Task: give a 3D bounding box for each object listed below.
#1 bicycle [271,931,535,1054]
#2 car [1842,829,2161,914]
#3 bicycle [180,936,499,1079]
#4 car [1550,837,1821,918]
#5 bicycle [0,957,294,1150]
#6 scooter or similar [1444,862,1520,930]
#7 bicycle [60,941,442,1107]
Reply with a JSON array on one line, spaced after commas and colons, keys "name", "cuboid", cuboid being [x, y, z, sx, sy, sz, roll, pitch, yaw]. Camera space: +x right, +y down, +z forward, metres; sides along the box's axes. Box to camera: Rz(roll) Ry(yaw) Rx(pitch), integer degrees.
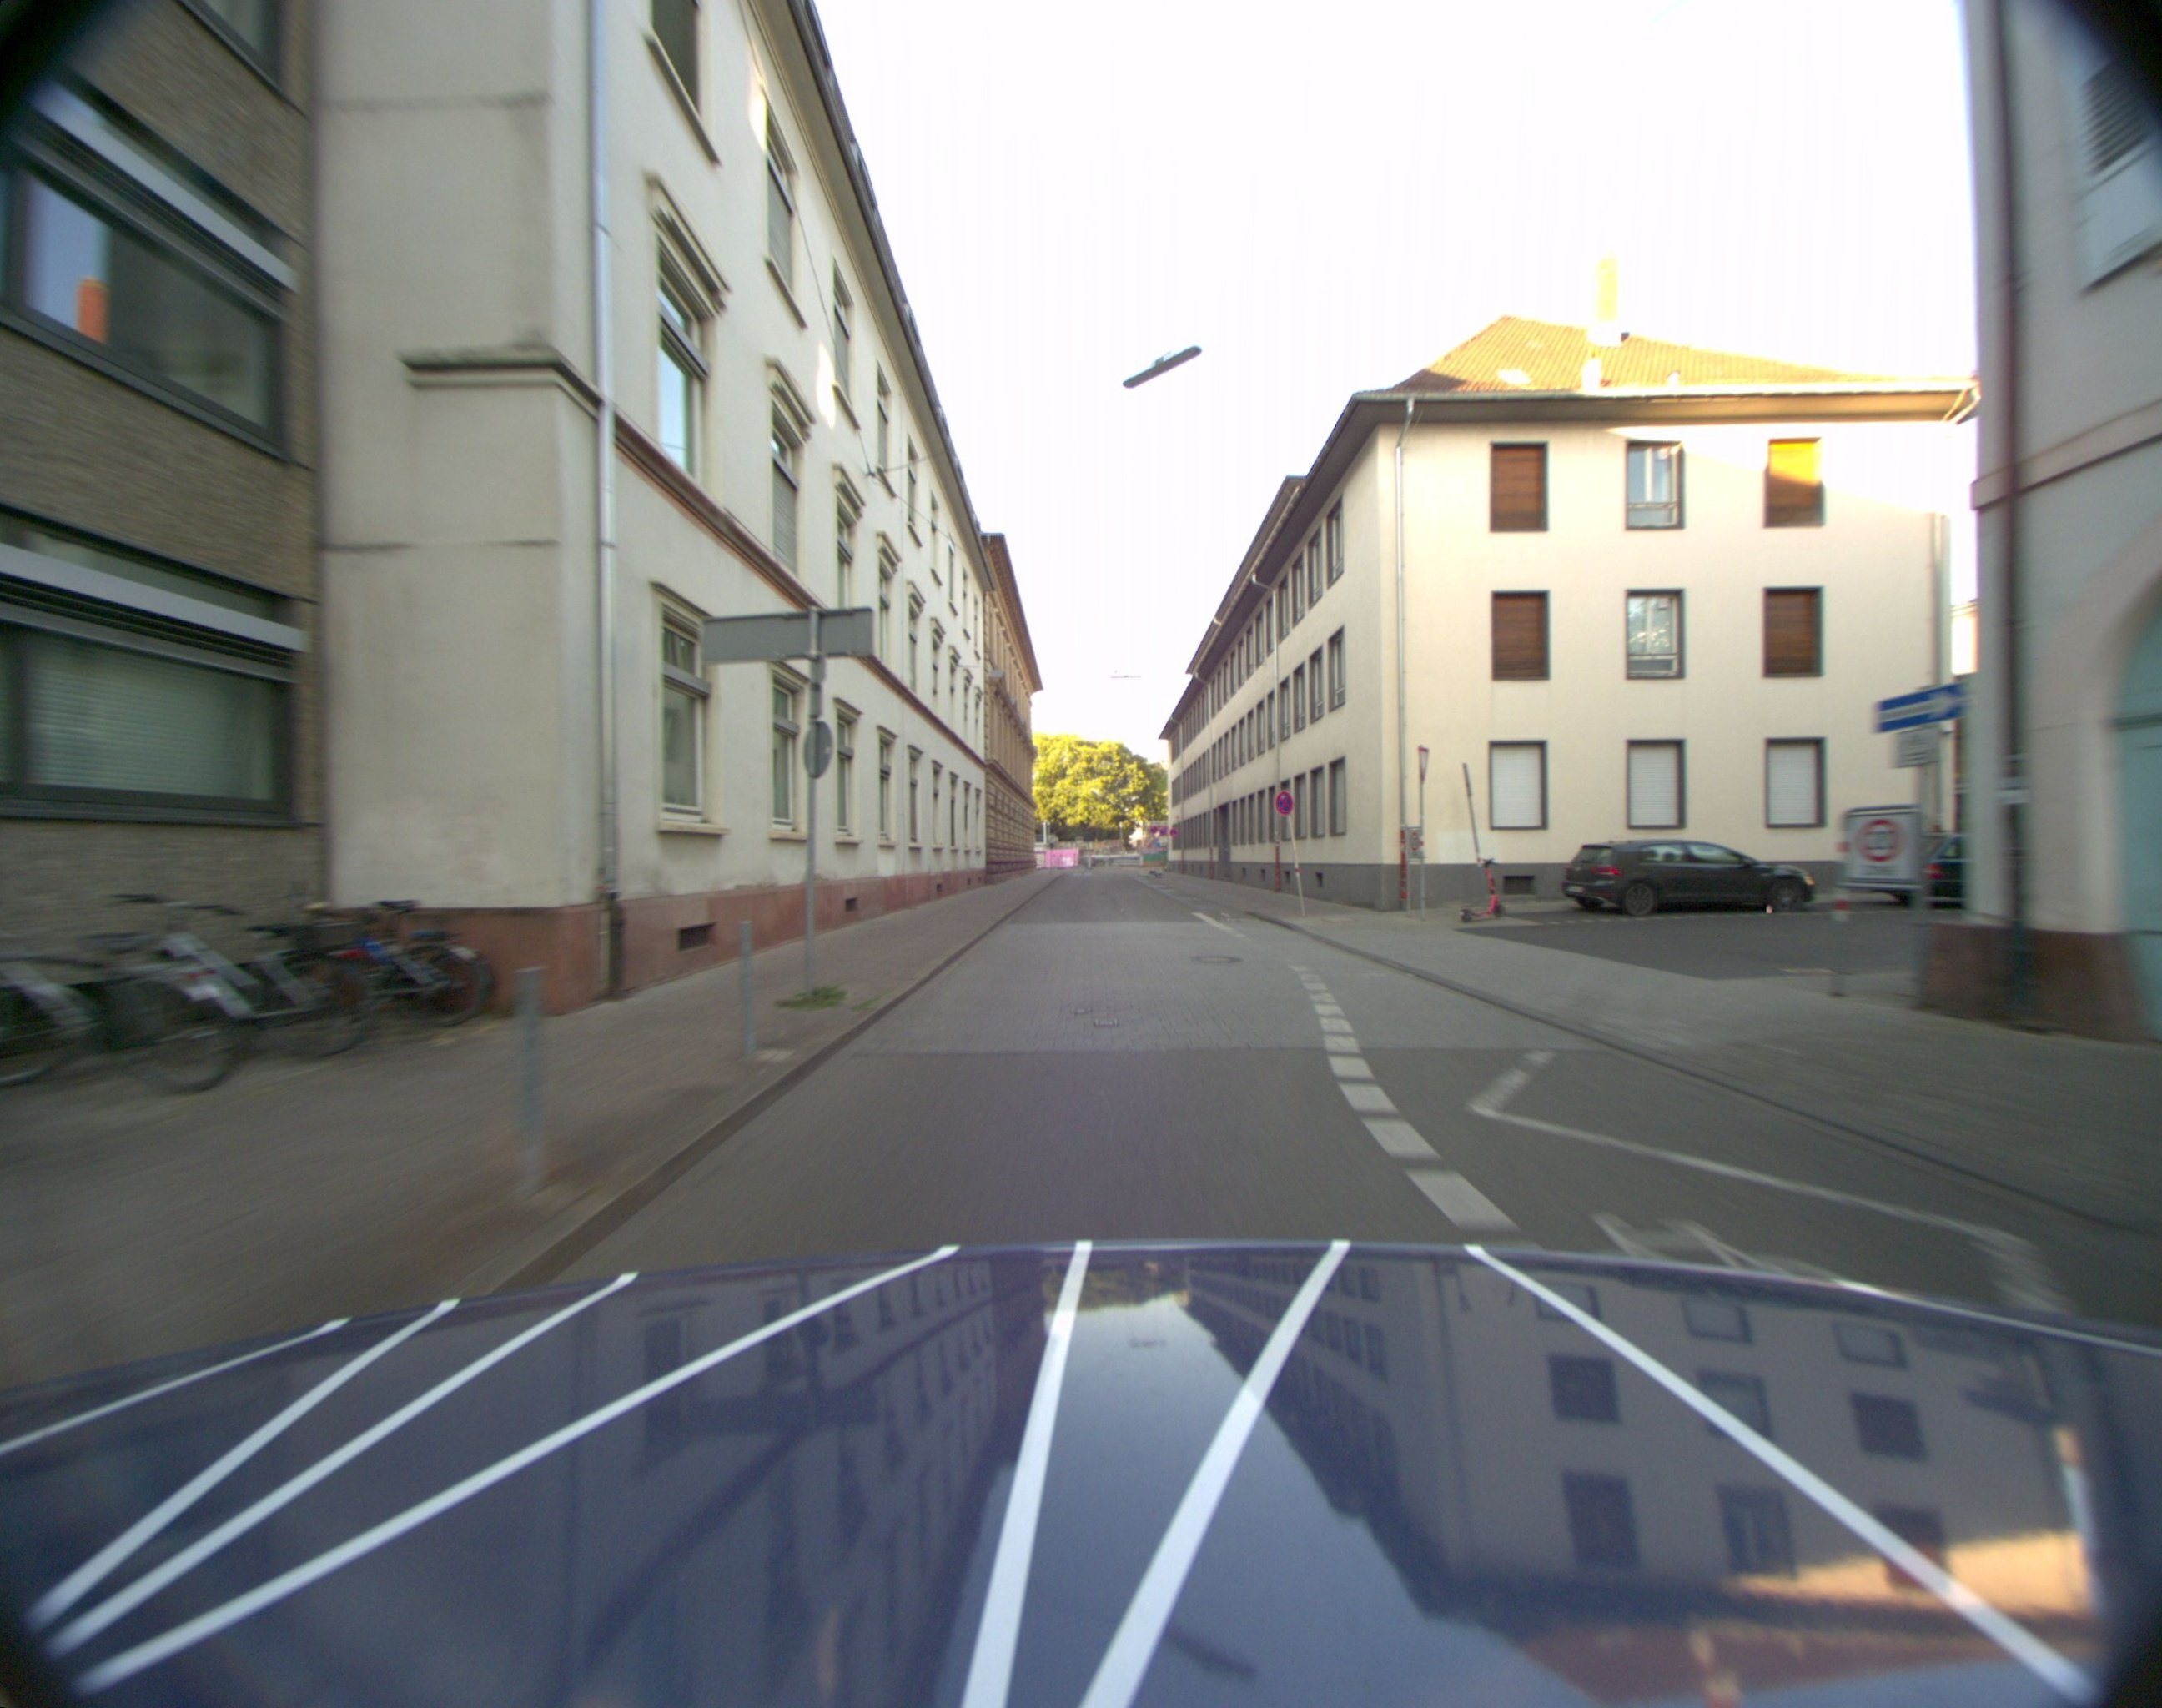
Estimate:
[{"name": "bicycle", "cuboid": [-5.728, 1.157, 6.469, 1.800, 0.917, 0.396, -1, 1, -3]}, {"name": "car", "cuboid": [17.759, 0.292, 14.637, 4.263, 1.432, 1.728, -2, 2, 5]}, {"name": "bicycle", "cuboid": [-5.677, 1.158, 5.899, 1.801, 0.917, 0.516, -1, 1, -7]}, {"name": "car", "cuboid": [11.985, 0.449, 15.277, 3.966, 1.432, 1.729, -2, 0, 4]}, {"name": "bicycle", "cuboid": [-5.711, 1.117, 4.327, 1.745, 0.917, 0.538, -1, 1, -6]}, {"name": "scooter or similar", "cuboid": [7.825, 0.796, 14.831, 1.367, 1.194, 0.532, -4, 2, -23]}, {"name": "bicycle", "cuboid": [-5.520, 1.109, 5.140, 1.801, 0.917, 0.538, -1, 1, -7]}]
